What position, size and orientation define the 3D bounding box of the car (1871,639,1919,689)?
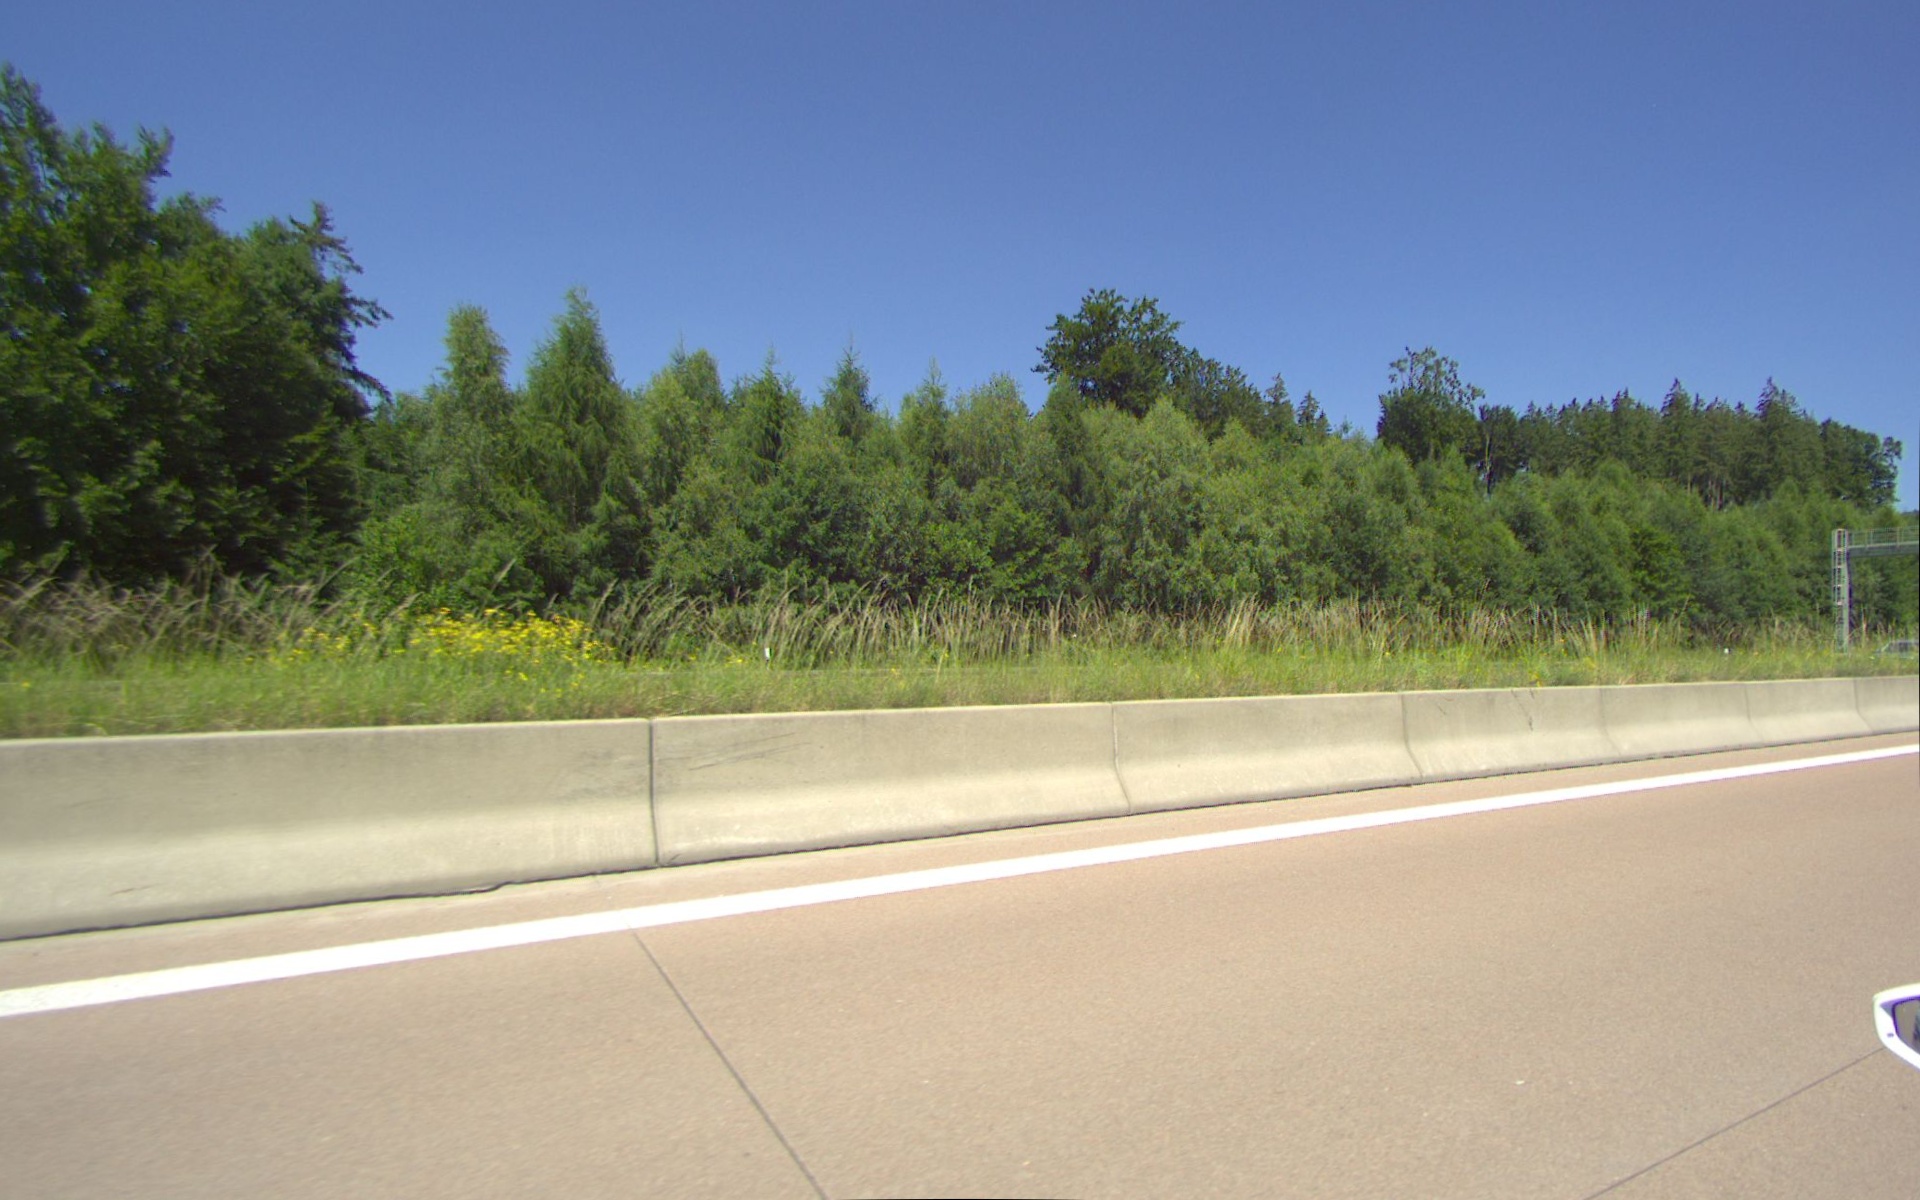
[{"bbox_3d":[38.898,2.556,40.560,5.048,1.887,1.880,2,-1,-33],"label":"car"}]
